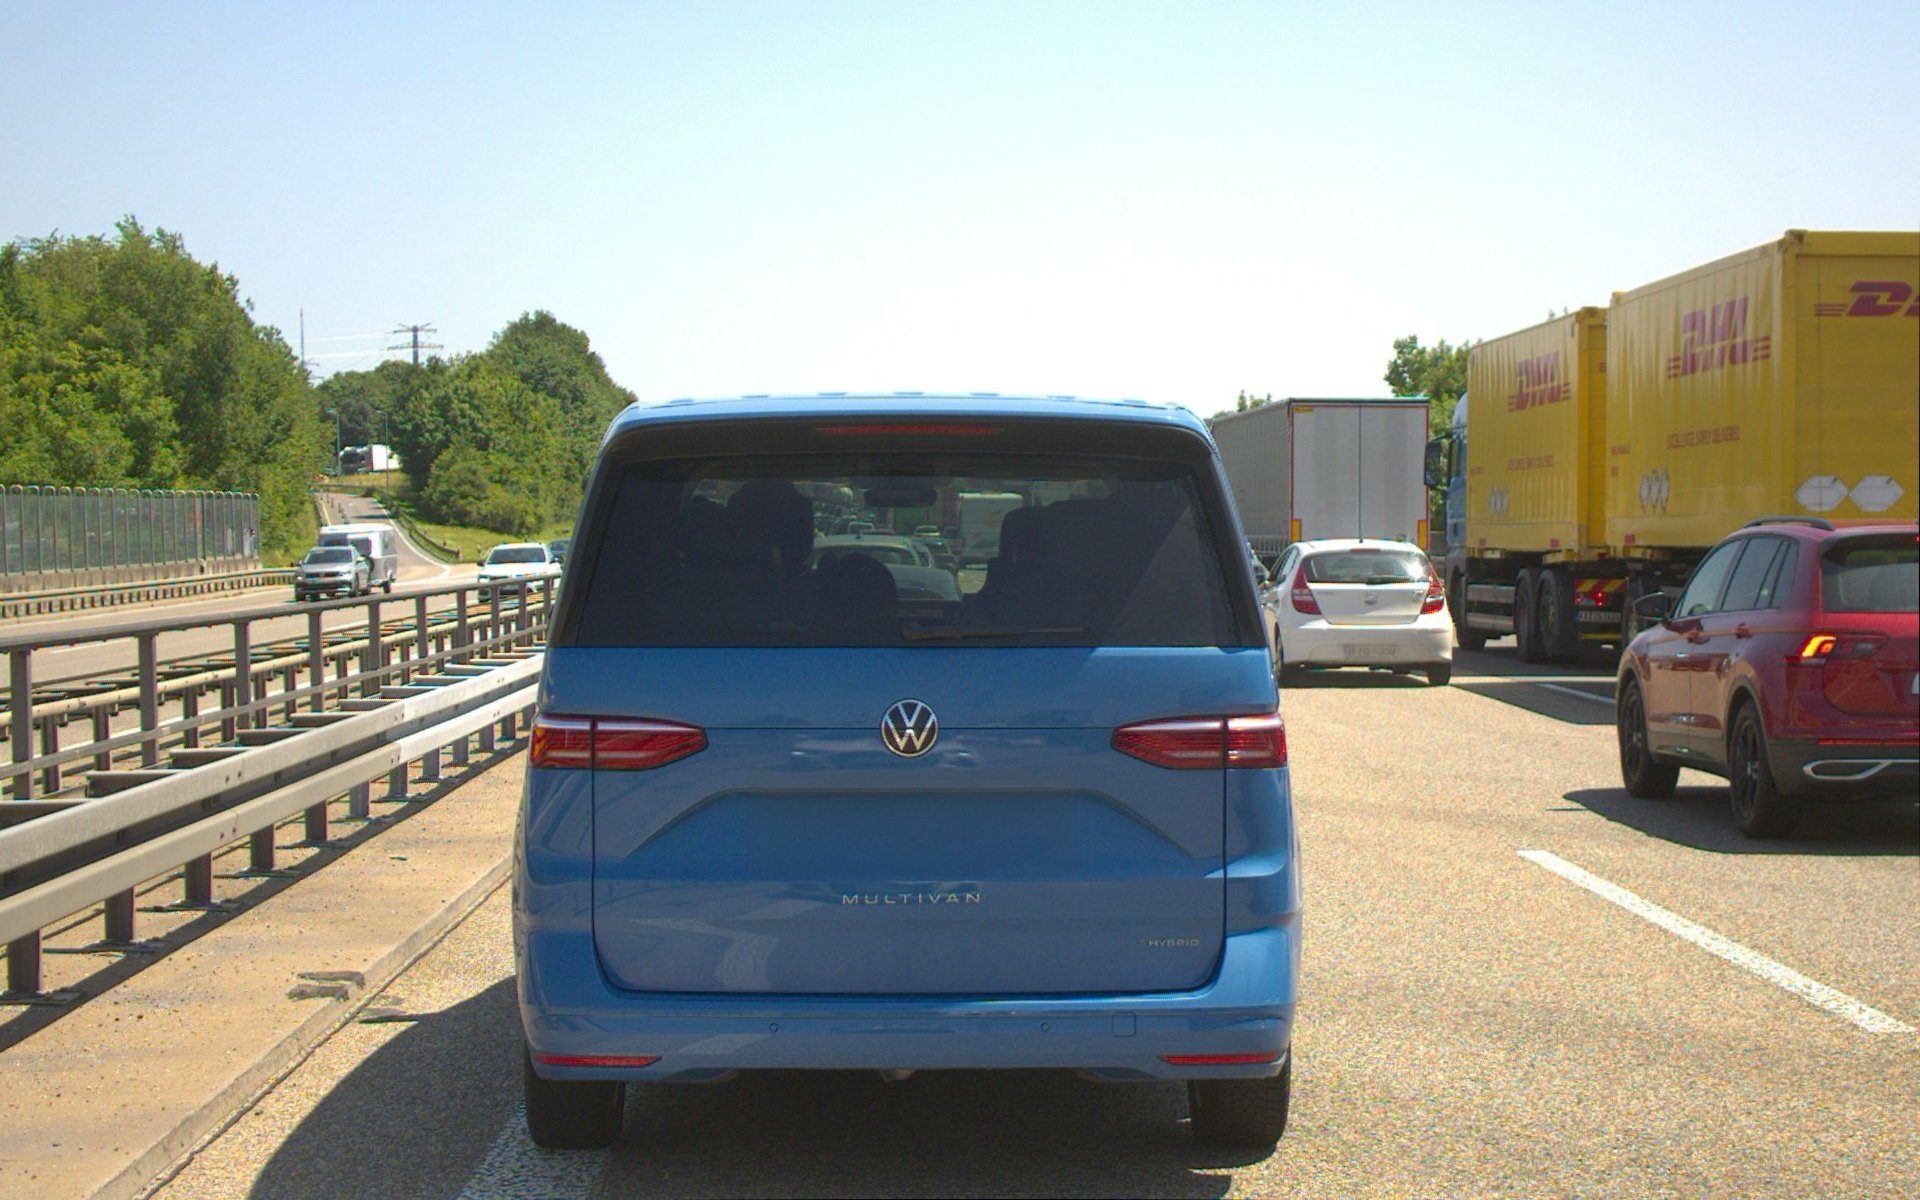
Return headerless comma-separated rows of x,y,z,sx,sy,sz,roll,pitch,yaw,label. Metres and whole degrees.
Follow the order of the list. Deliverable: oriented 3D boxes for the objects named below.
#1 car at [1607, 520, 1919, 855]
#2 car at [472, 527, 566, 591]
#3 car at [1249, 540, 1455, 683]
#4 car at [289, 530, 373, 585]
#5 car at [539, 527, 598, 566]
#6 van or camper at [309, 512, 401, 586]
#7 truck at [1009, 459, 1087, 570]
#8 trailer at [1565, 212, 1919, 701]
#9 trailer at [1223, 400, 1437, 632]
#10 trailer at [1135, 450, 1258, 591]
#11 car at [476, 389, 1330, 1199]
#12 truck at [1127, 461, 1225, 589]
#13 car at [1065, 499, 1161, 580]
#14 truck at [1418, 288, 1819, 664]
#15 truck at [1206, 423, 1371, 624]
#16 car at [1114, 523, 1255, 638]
4.811,0.376,18.442,1.851,1.603,4.000,0,1,-1,car
-10.662,-1.009,83.342,1.757,1.444,4.287,-2,1,-1,car
4.059,0.077,36.136,1.838,1.409,4.000,0,1,2,car
-19.095,-1.290,104.516,1.856,1.540,4.201,-3,1,-2,car
-15.745,-2.161,138.500,1.856,1.392,4.676,0,3,0,car
-19.224,-1.602,109.408,1.993,2.204,5.537,-3,1,-2,van or camper
4.089,-3.960,162.528,2.833,5.023,11.147,1,1,-2,truck
8.022,-1.216,32.822,2.701,4.010,8.931,1,1,-1,trailer
7.102,-1.573,67.542,2.755,4.132,11.313,1,1,-1,trailer
6.610,-2.180,97.629,2.379,3.731,11.189,1,1,-2,trailer
-0.159,0.413,9.589,1.882,1.831,4.000,0,1,-1,car
6.452,-2.223,103.255,2.367,3.709,6.034,1,1,-2,truck
3.084,-1.208,69.930,1.715,1.535,3.821,0,-1,-1,car
7.837,-1.398,42.473,2.722,4.040,10.337,1,1,-1,truck
6.992,-1.620,74.039,2.768,4.081,6.984,1,1,-1,truck
3.199,-0.270,49.508,1.715,1.581,3.821,0,0,-1,car
